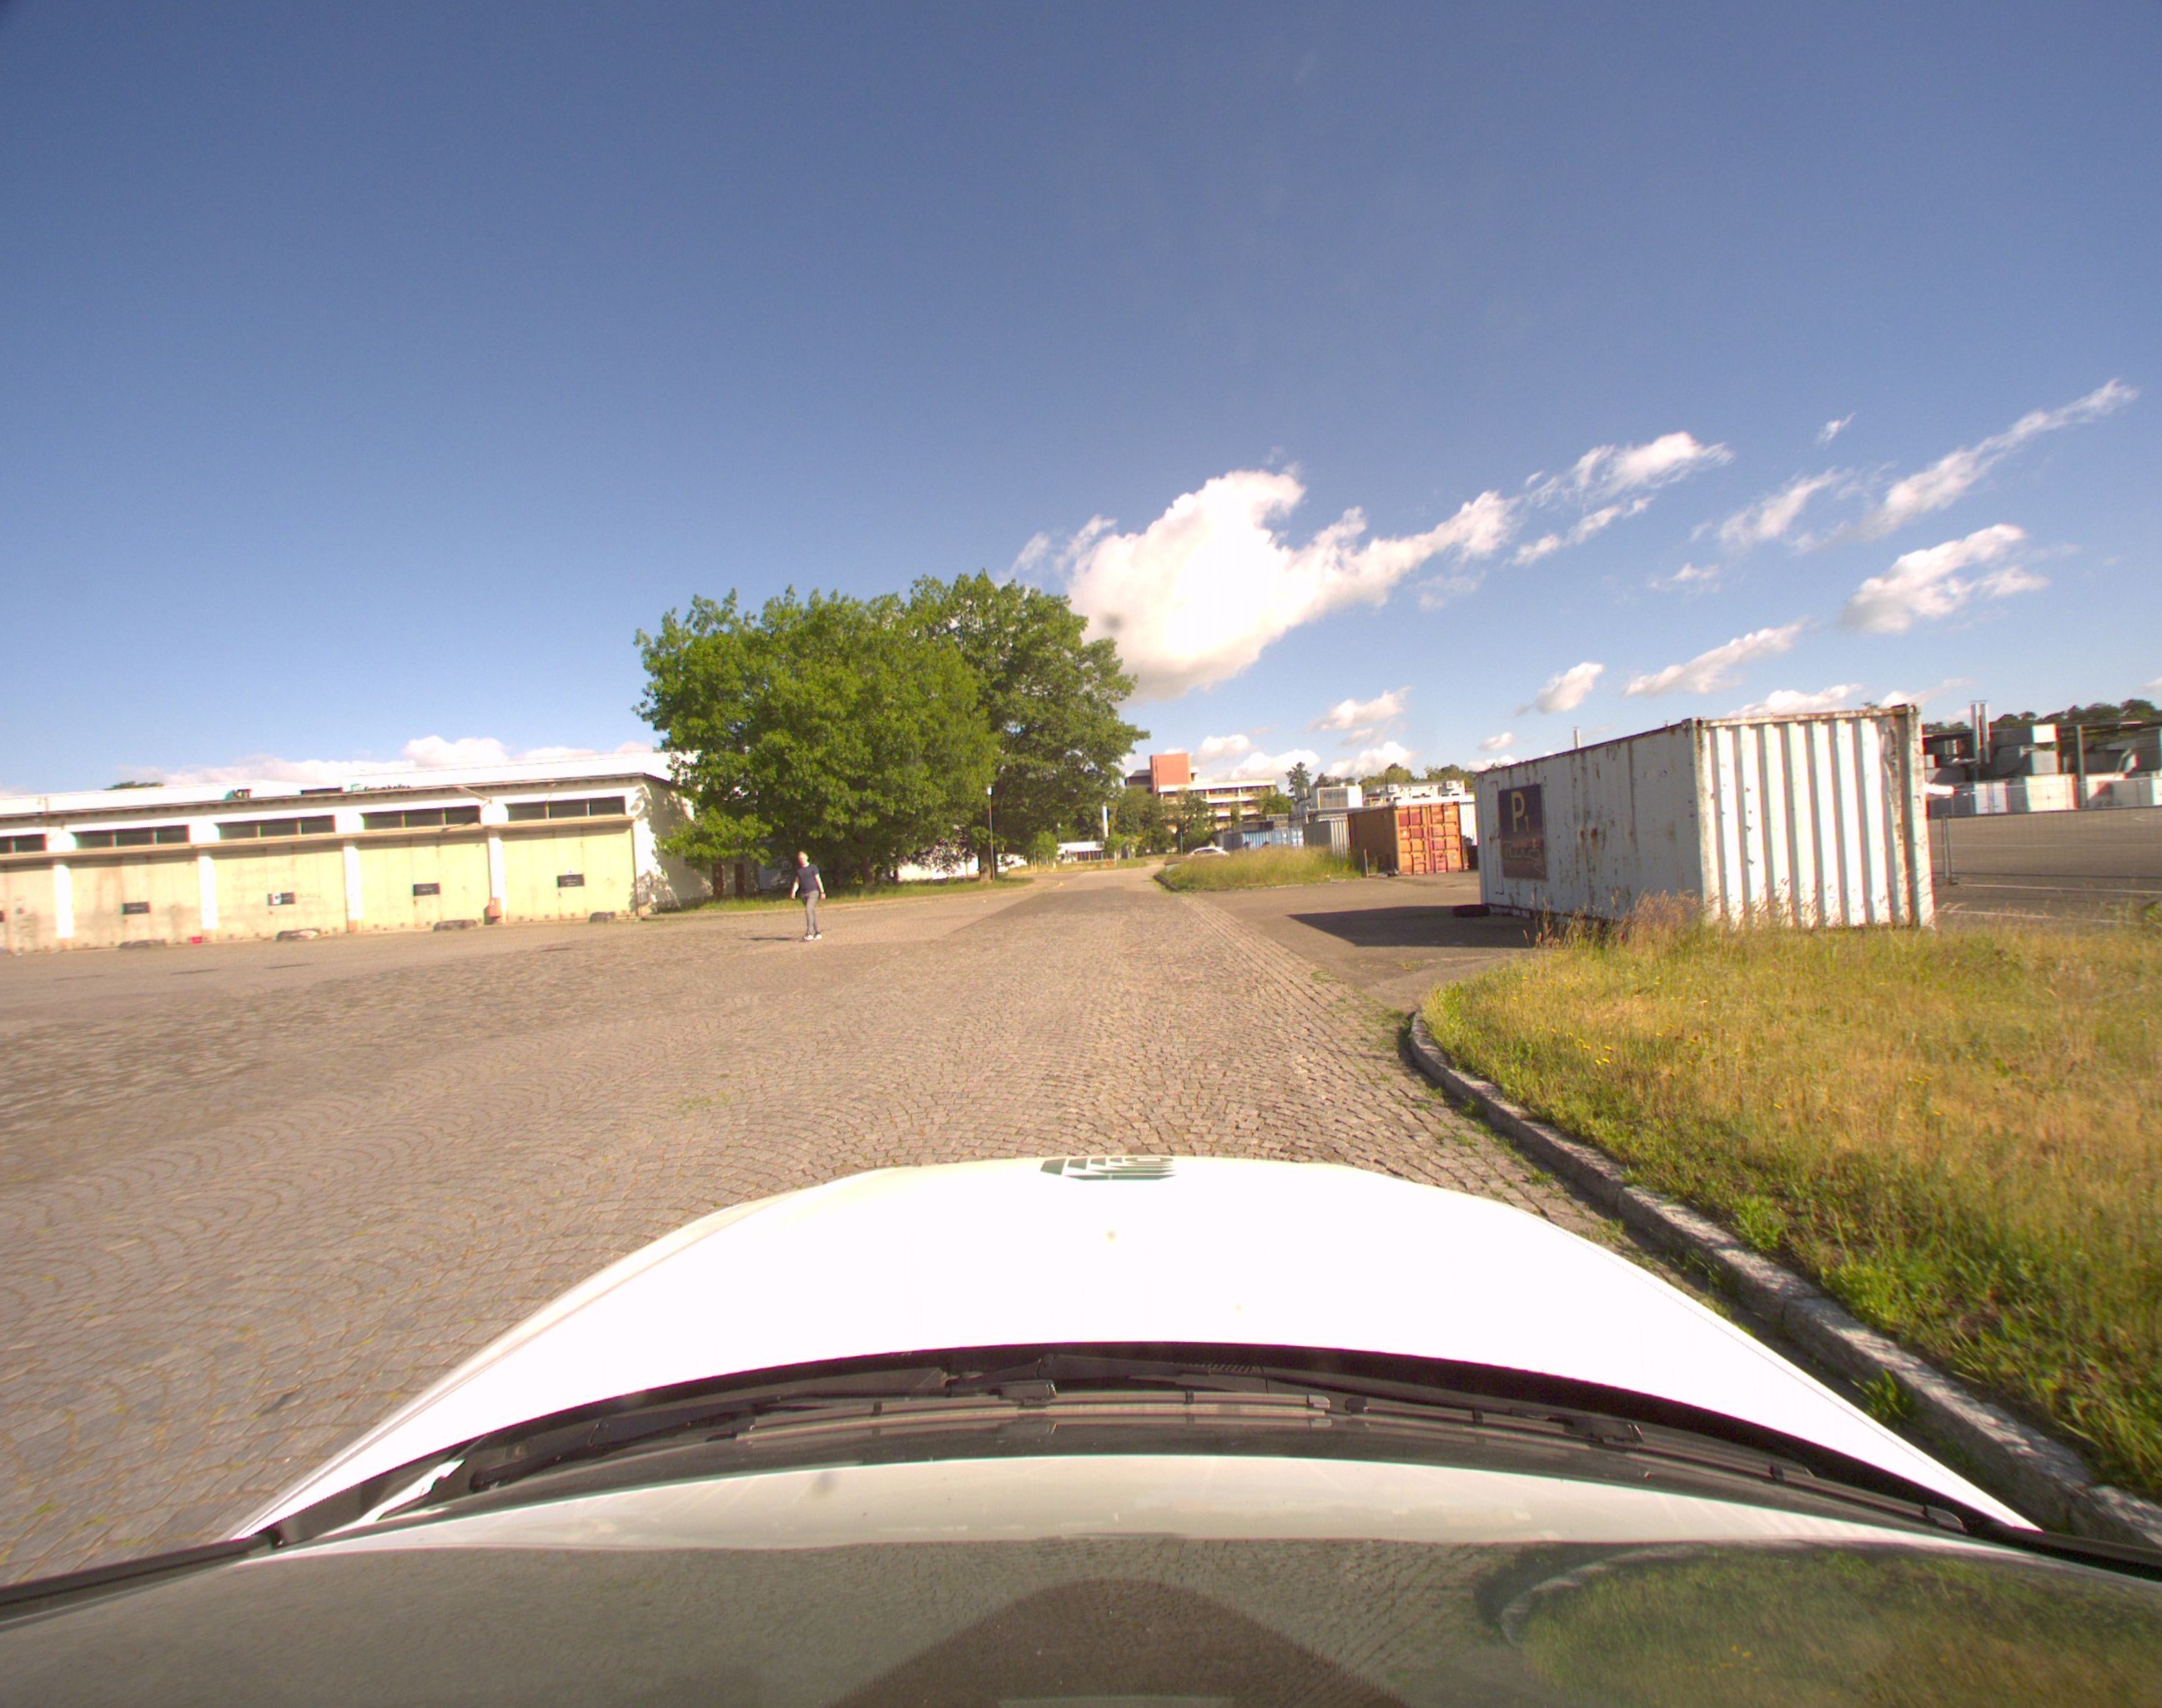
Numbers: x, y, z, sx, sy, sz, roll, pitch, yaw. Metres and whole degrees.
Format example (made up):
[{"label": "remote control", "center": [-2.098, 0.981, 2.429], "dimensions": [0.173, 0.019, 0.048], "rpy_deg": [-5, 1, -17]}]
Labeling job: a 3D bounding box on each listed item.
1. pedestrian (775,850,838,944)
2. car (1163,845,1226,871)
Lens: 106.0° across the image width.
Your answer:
[{"label": "pedestrian", "center": [-5.903, 0.892, 17.556], "dimensions": [0.794, 1.914, 1.143], "rpy_deg": [-4, 0, 3]}, {"label": "car", "center": [8.787, 0.293, 63.257], "dimensions": [4.570, 1.677, 1.876], "rpy_deg": [-4, 0, 2]}]
